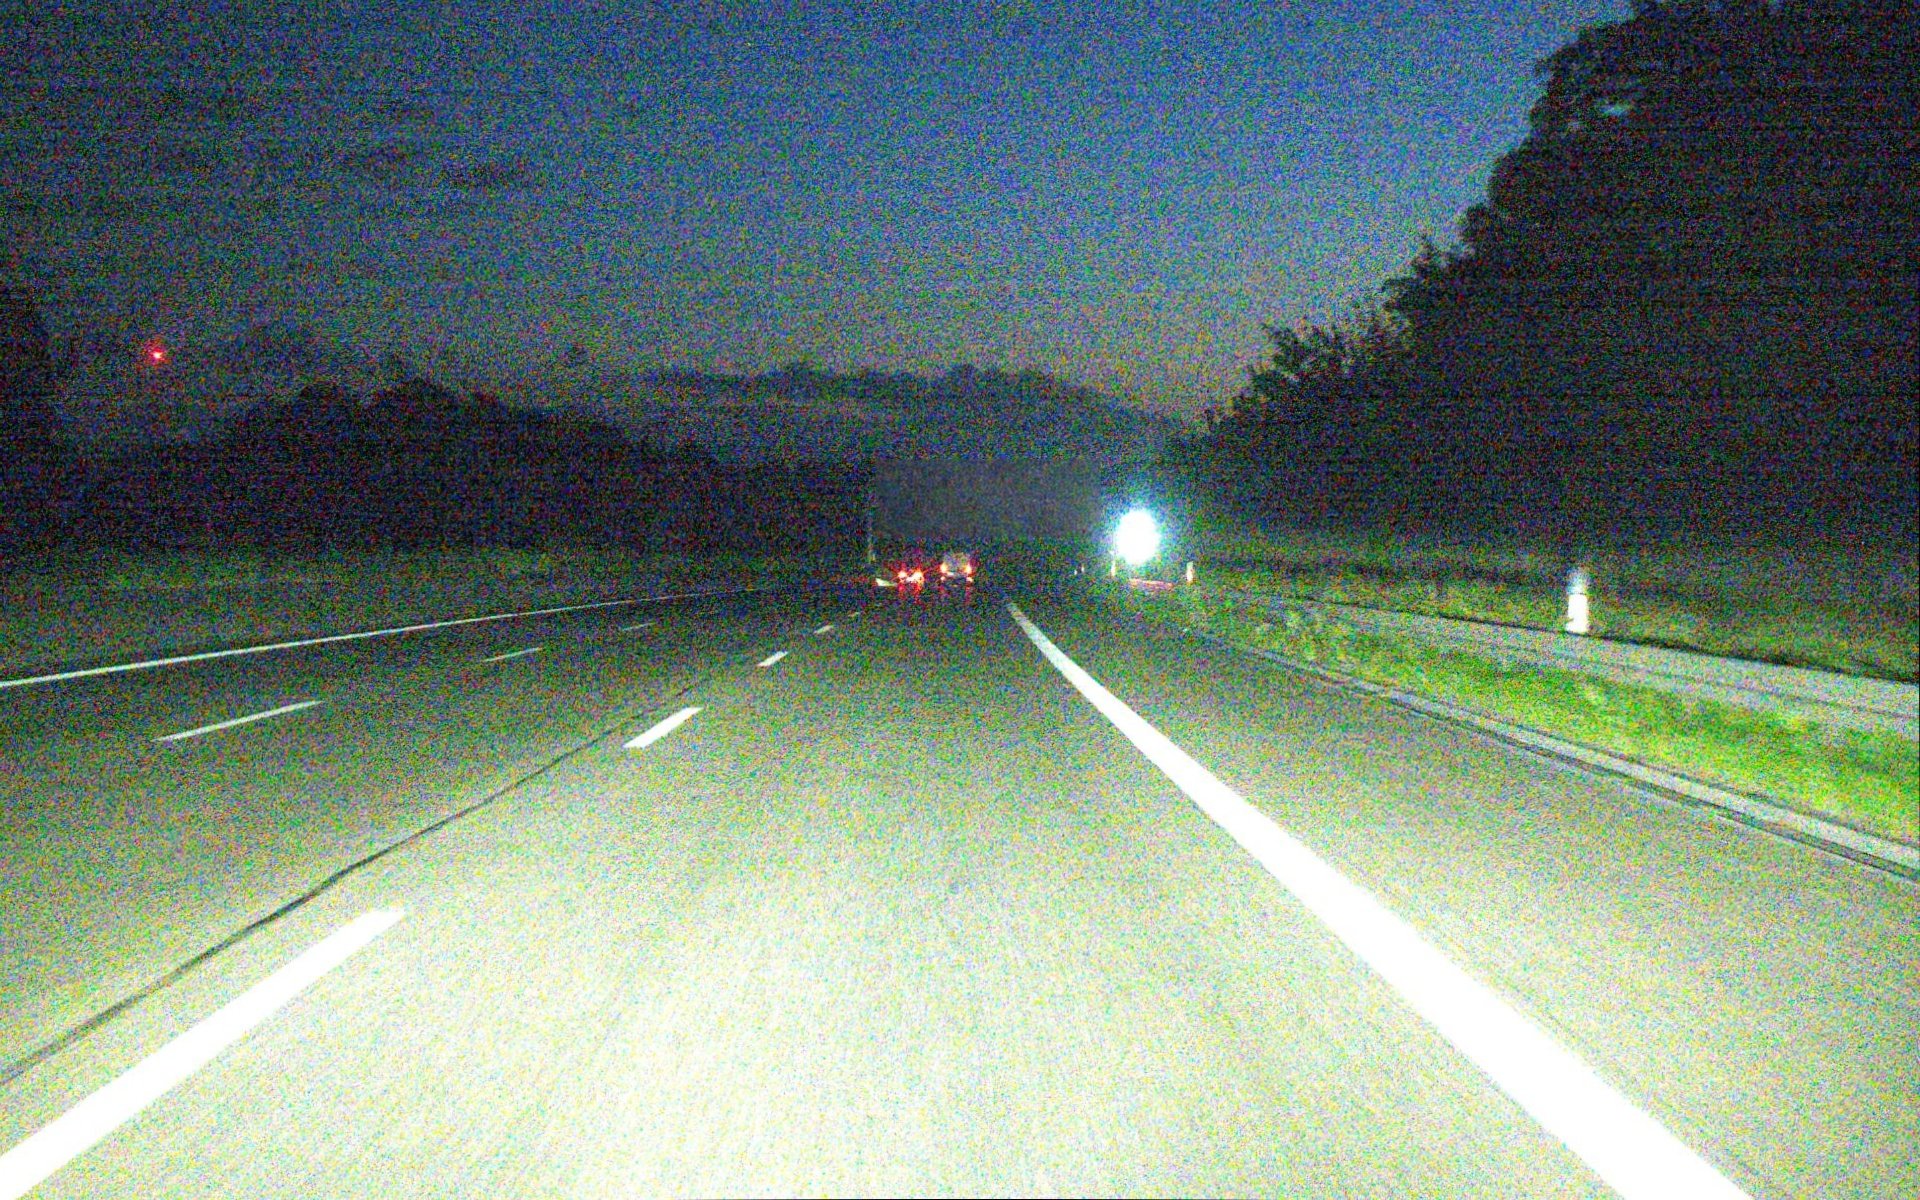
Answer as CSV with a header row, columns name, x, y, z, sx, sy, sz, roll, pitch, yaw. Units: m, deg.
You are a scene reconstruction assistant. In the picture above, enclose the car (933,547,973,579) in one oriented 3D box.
name,x,y,z,sx,sy,sz,roll,pitch,yaw
car,-0.481,-2.739,254.447,2.511,2.306,4.969,0,0,5
